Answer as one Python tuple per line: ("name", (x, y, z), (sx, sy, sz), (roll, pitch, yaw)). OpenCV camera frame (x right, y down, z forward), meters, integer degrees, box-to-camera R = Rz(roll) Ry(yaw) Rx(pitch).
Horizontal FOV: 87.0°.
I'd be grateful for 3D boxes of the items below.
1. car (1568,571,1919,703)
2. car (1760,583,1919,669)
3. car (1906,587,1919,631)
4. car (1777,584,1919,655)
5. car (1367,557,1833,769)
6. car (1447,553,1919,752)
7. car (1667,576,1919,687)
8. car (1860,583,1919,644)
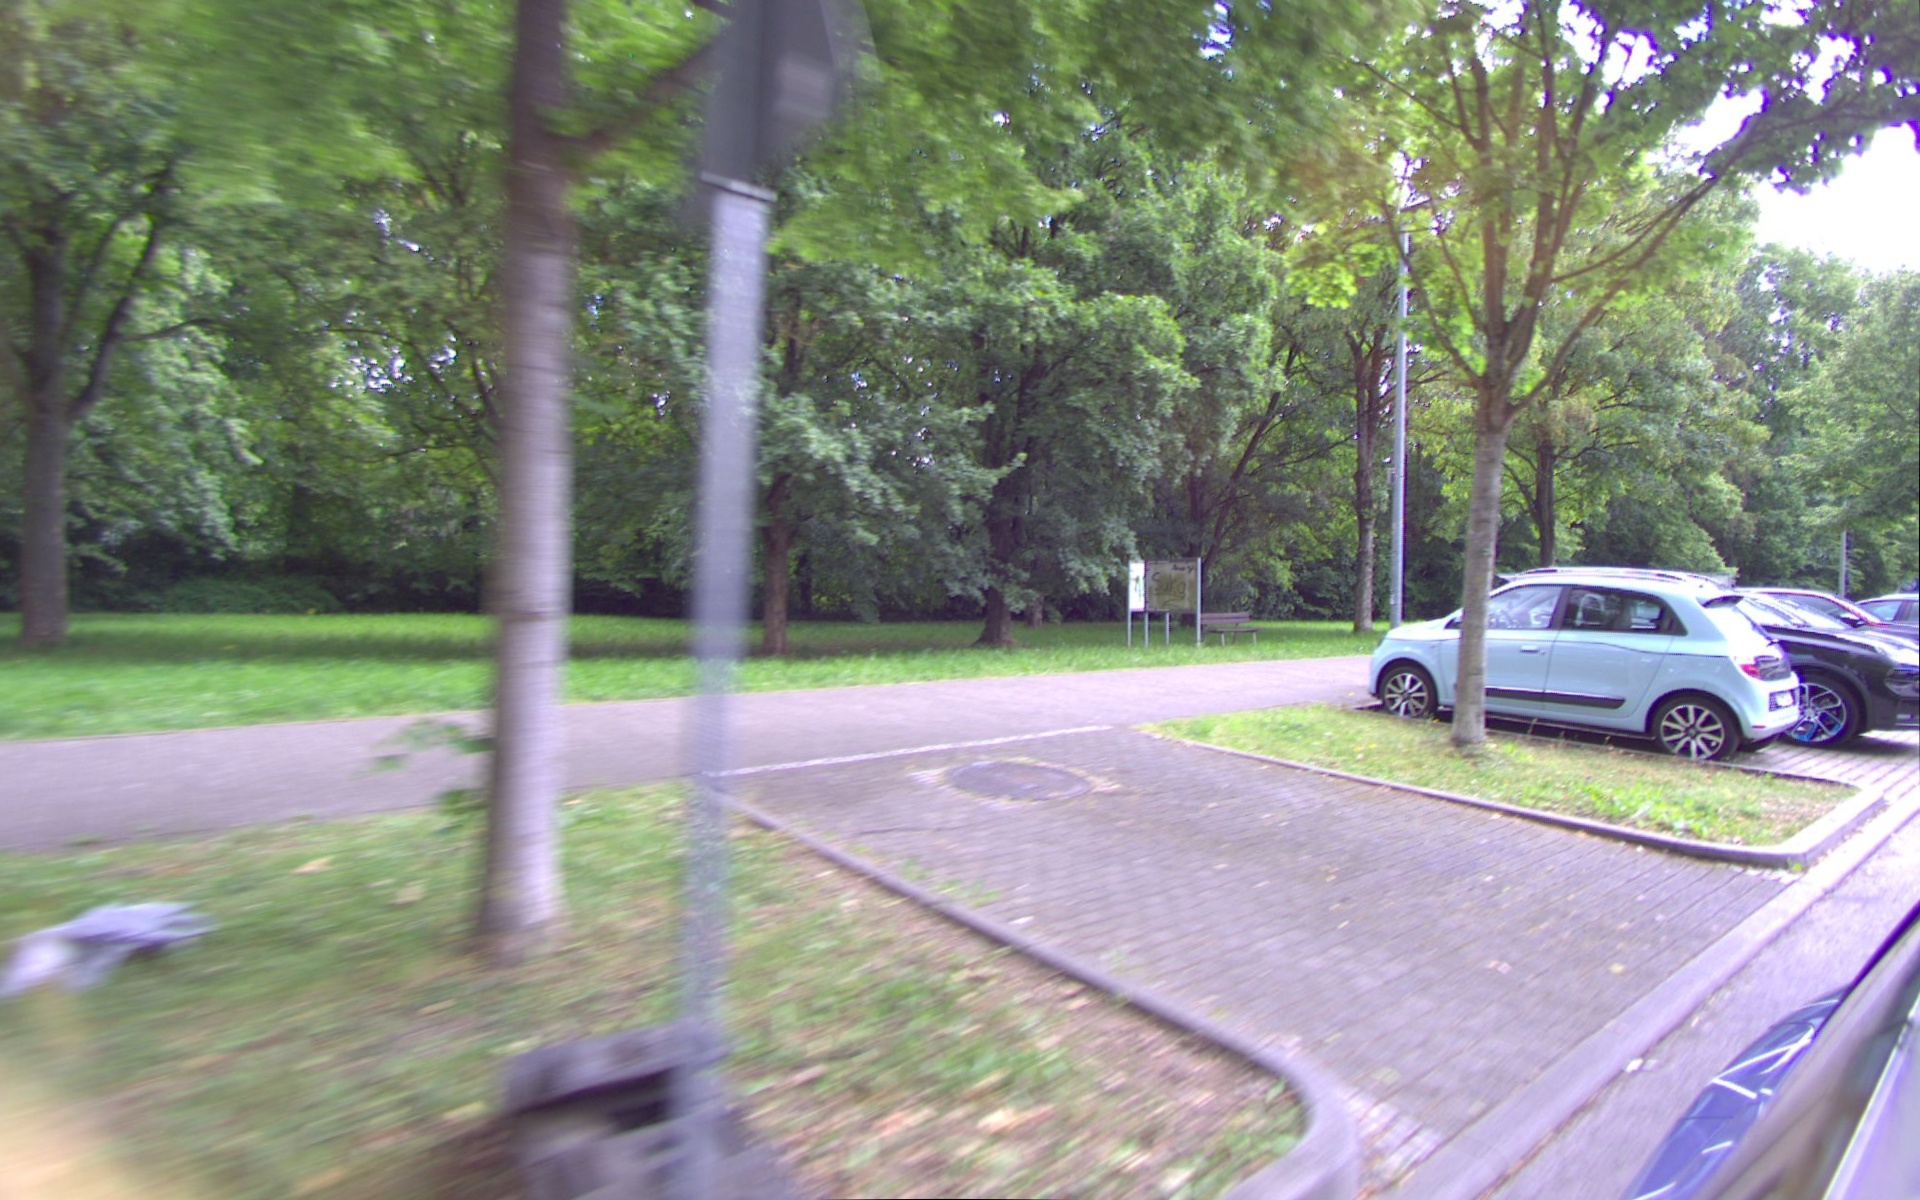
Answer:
("car", (11.822, 0.447, 14.750), (1.946, 1.536, 4.651), (1, 2, -37))
("car", (18.022, 0.503, 19.221), (1.817, 1.474, 4.084), (0, 3, -38))
("car", (33.908, 0.392, 33.257), (1.763, 1.439, 4.012), (0, 3, -44))
("car", (21.699, 0.466, 23.055), (1.813, 1.472, 4.498), (0, 3, -39))
("car", (6.028, 0.448, 9.823), (1.764, 1.594, 3.389), (1, 2, -38))
("car", (8.093, 0.406, 11.156), (2.045, 1.696, 4.427), (1, 2, -39))
("car", (14.109, 0.454, 16.358), (1.820, 1.536, 4.079), (0, 3, -42))
("car", (26.272, 0.410, 26.381), (1.846, 1.534, 3.853), (0, 3, -36))
